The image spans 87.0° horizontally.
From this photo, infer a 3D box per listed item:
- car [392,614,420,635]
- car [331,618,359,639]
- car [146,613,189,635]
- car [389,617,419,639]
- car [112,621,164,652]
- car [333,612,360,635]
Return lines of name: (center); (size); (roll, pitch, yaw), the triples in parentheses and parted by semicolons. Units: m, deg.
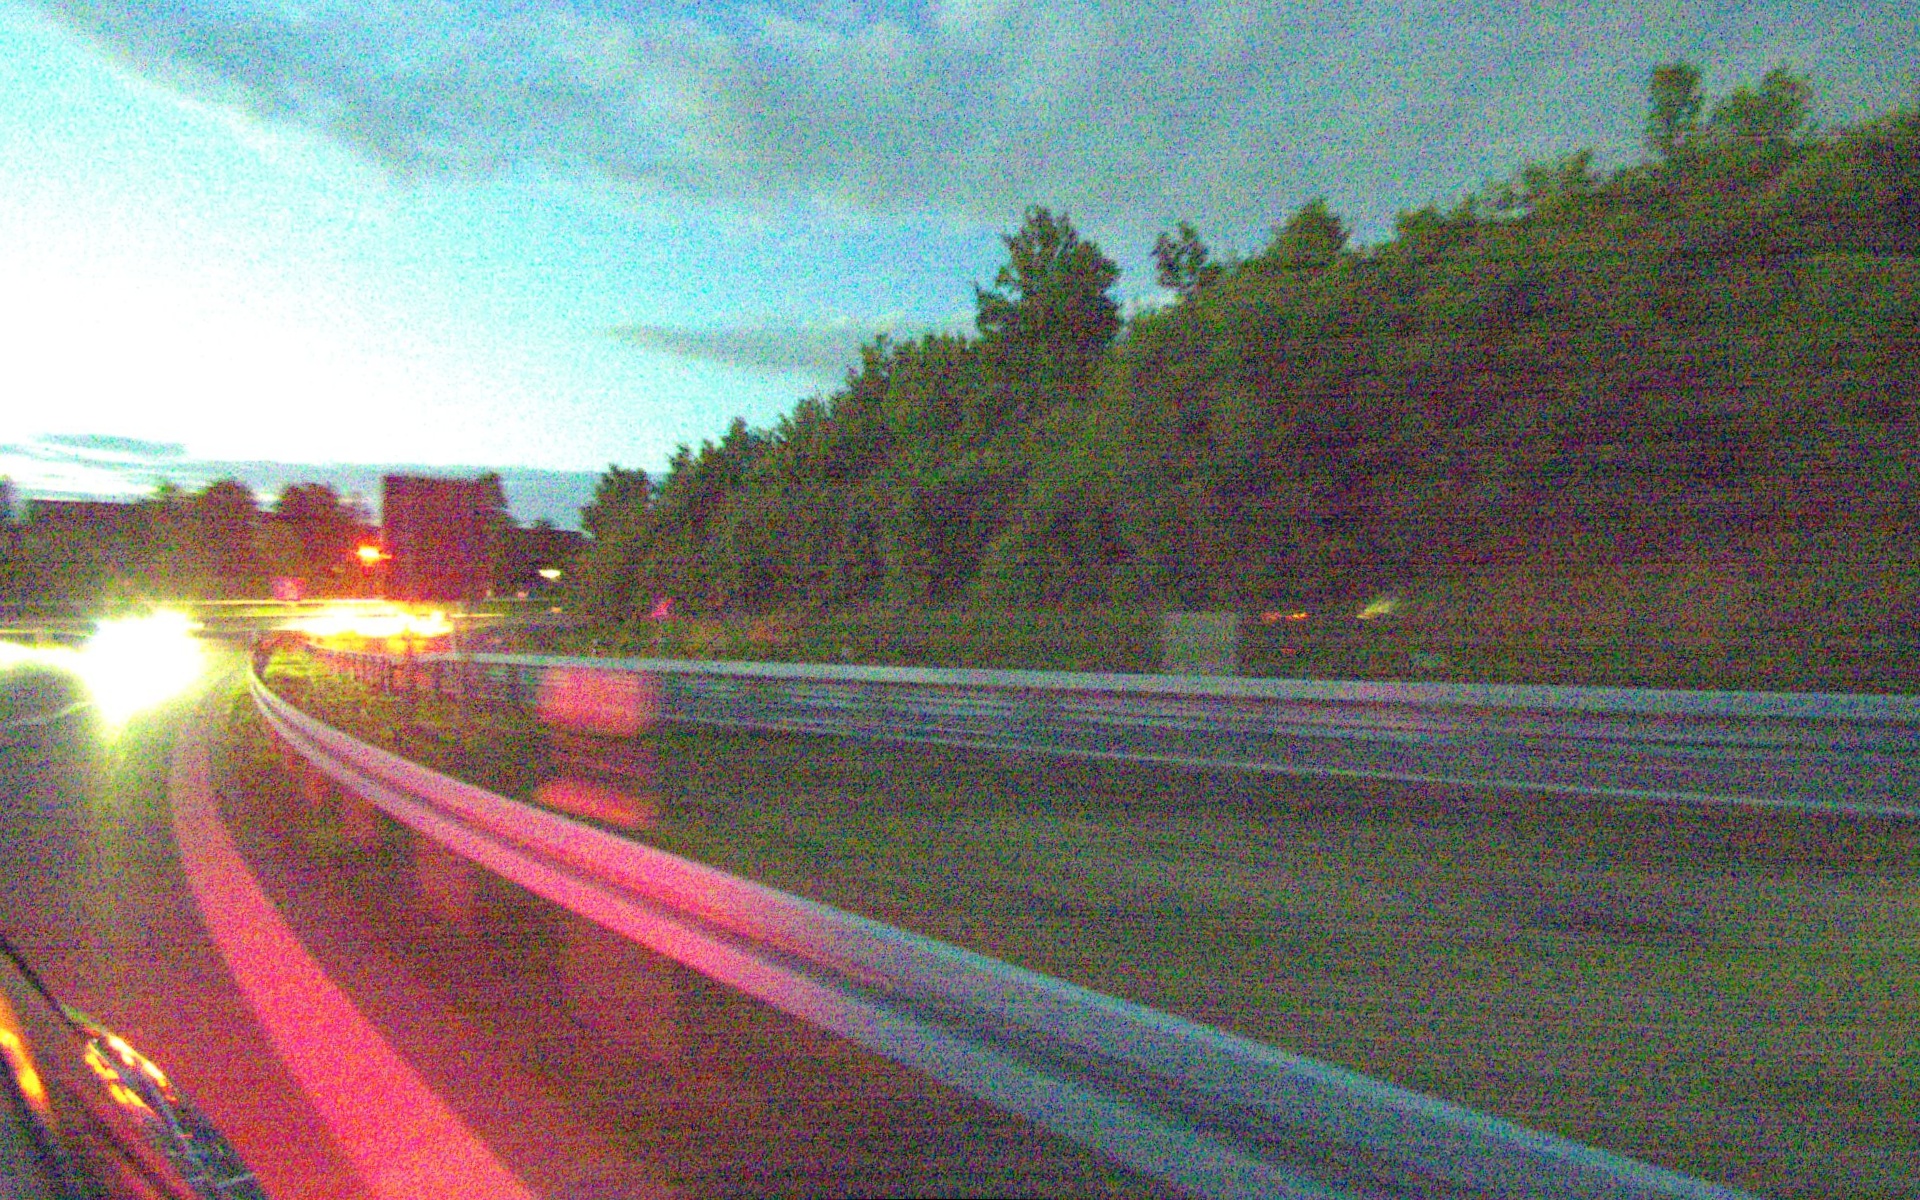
car: (-44.121, 1.934, 80.555); (1.730, 1.471, 4.012); (-1, 2, -32)
car: (-44.740, 2.053, 73.550); (1.686, 1.455, 3.996); (0, 0, -32)
car: (-56.411, 1.682, 72.066); (1.629, 1.461, 3.501); (0, 0, -25)
car: (-40.994, 2.061, 74.583); (1.660, 1.470, 3.824); (2, 0, -32)
car: (-43.202, 1.867, 53.231); (1.734, 1.470, 4.204); (0, 0, -34)
car: (-48.785, 1.841, 80.467); (1.676, 1.485, 3.881); (-1, 3, -34)
